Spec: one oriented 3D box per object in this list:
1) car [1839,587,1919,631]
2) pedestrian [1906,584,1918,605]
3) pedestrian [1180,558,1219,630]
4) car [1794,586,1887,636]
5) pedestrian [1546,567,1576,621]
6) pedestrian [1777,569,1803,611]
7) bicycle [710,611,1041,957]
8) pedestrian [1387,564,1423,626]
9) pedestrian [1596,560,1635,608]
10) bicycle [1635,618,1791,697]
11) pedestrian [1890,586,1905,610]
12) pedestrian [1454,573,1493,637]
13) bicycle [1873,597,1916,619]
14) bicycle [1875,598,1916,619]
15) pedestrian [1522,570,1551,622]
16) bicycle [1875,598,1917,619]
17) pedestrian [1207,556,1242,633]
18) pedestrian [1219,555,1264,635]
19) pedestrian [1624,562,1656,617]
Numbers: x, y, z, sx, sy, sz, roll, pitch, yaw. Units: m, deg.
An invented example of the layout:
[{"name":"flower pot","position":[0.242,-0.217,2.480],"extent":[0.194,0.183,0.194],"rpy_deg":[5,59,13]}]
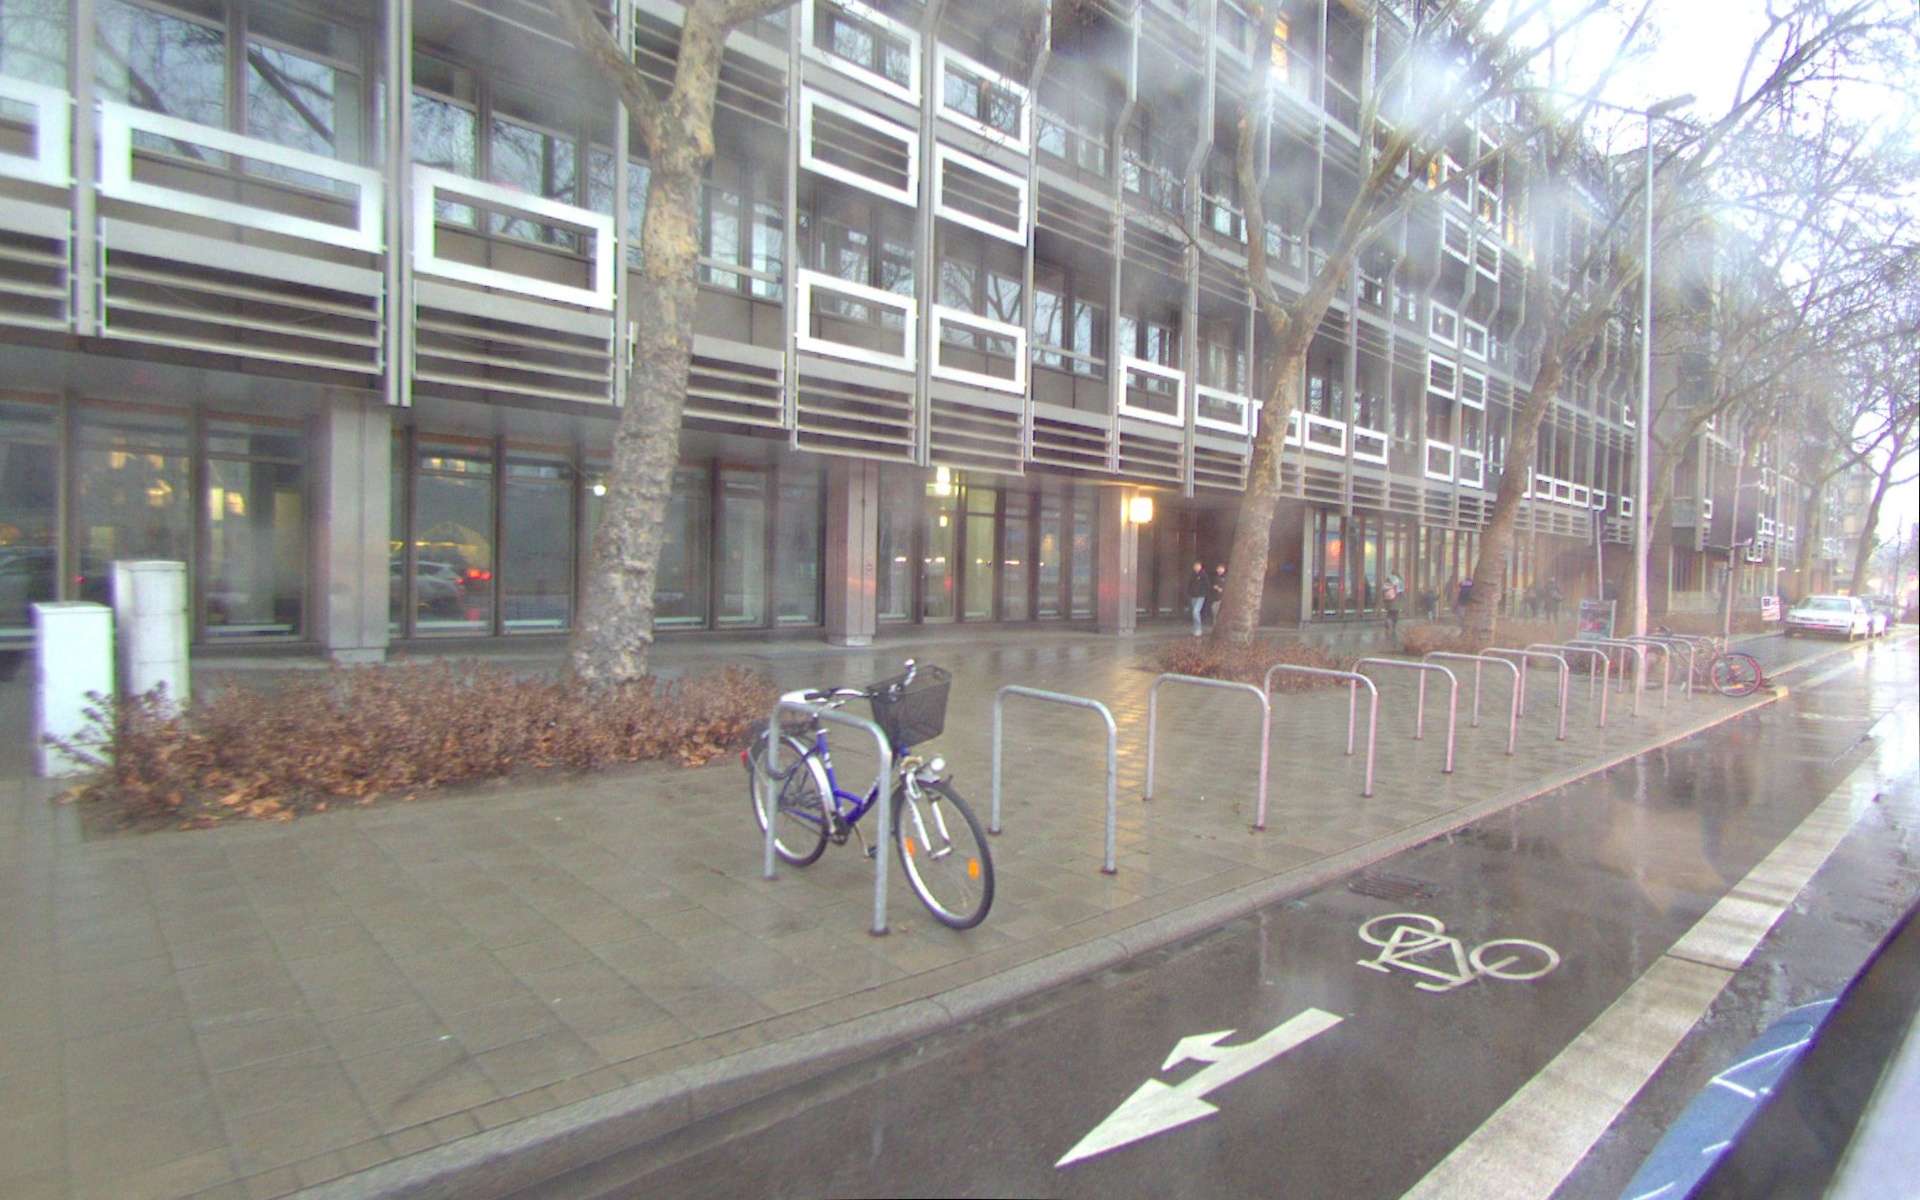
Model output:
[{"name":"car","position":[34.833,0.289,38.128],"extent":[3.930,1.504,1.998],"rpy_deg":[0,2,-41]},{"name":"pedestrian","position":[95.108,-0.552,101.082],"extent":[0.758,2.039,0.837],"rpy_deg":[-1,0,-42]},{"name":"pedestrian","position":[5.379,-0.142,22.704],"extent":[0.733,1.583,0.484],"rpy_deg":[0,1,-42]},{"name":"car","position":[29.112,0.319,33.419],"extent":[3.859,1.449,1.609],"rpy_deg":[0,5,-39]},{"name":"pedestrian","position":[19.762,-0.206,33.271],"extent":[0.652,1.739,0.837],"rpy_deg":[1,1,19]},{"name":"pedestrian","position":[40.645,-0.492,49.570],"extent":[1.006,2.038,0.790],"rpy_deg":[0,1,-41]},{"name":"bicycle","position":[-0.459,0.695,4.539],"extent":[0.428,1.162,1.752],"rpy_deg":[0,4,-44]},{"name":"pedestrian","position":[12.370,-0.148,28.136],"extent":[0.767,1.677,0.617],"rpy_deg":[0,1,-41]},{"name":"pedestrian","position":[21.185,-0.522,32.711],"extent":[0.824,1.543,0.865],"rpy_deg":[0,2,-43]},{"name":"bicycle","position":[11.319,0.836,15.254],"extent":[0.607,0.986,1.789],"rpy_deg":[0,3,-44]},{"name":"pedestrian","position":[80.054,-0.196,86.417],"extent":[0.758,2.039,0.837],"rpy_deg":[-1,0,-42]},{"name":"pedestrian","position":[12.798,0.117,25.227],"extent":[0.604,1.563,0.649],"rpy_deg":[0,1,-40]},{"name":"bicycle","position":[45.698,0.382,49.514],"extent":[1.518,1.049,0.462],"rpy_deg":[0,1,42]},{"name":"bicycle","position":[47.142,0.436,51.001],"extent":[1.518,1.049,0.462],"rpy_deg":[0,1,42]},{"name":"pedestrian","position":[19.100,-0.140,33.545],"extent":[0.633,1.675,0.838],"rpy_deg":[1,1,18]},{"name":"bicycle","position":[46.710,0.427,50.518],"extent":[1.518,1.049,0.462],"rpy_deg":[0,1,42]},{"name":"pedestrian","position":[5.842,-0.125,22.368],"extent":[0.701,1.688,0.379],"rpy_deg":[0,2,-41]},{"name":"pedestrian","position":[6.097,-0.120,21.911],"extent":[0.858,1.688,0.501],"rpy_deg":[0,2,-41]},{"name":"pedestrian","position":[25.624,-0.388,38.140],"extent":[0.723,2.038,0.821],"rpy_deg":[0,1,-43]}]
